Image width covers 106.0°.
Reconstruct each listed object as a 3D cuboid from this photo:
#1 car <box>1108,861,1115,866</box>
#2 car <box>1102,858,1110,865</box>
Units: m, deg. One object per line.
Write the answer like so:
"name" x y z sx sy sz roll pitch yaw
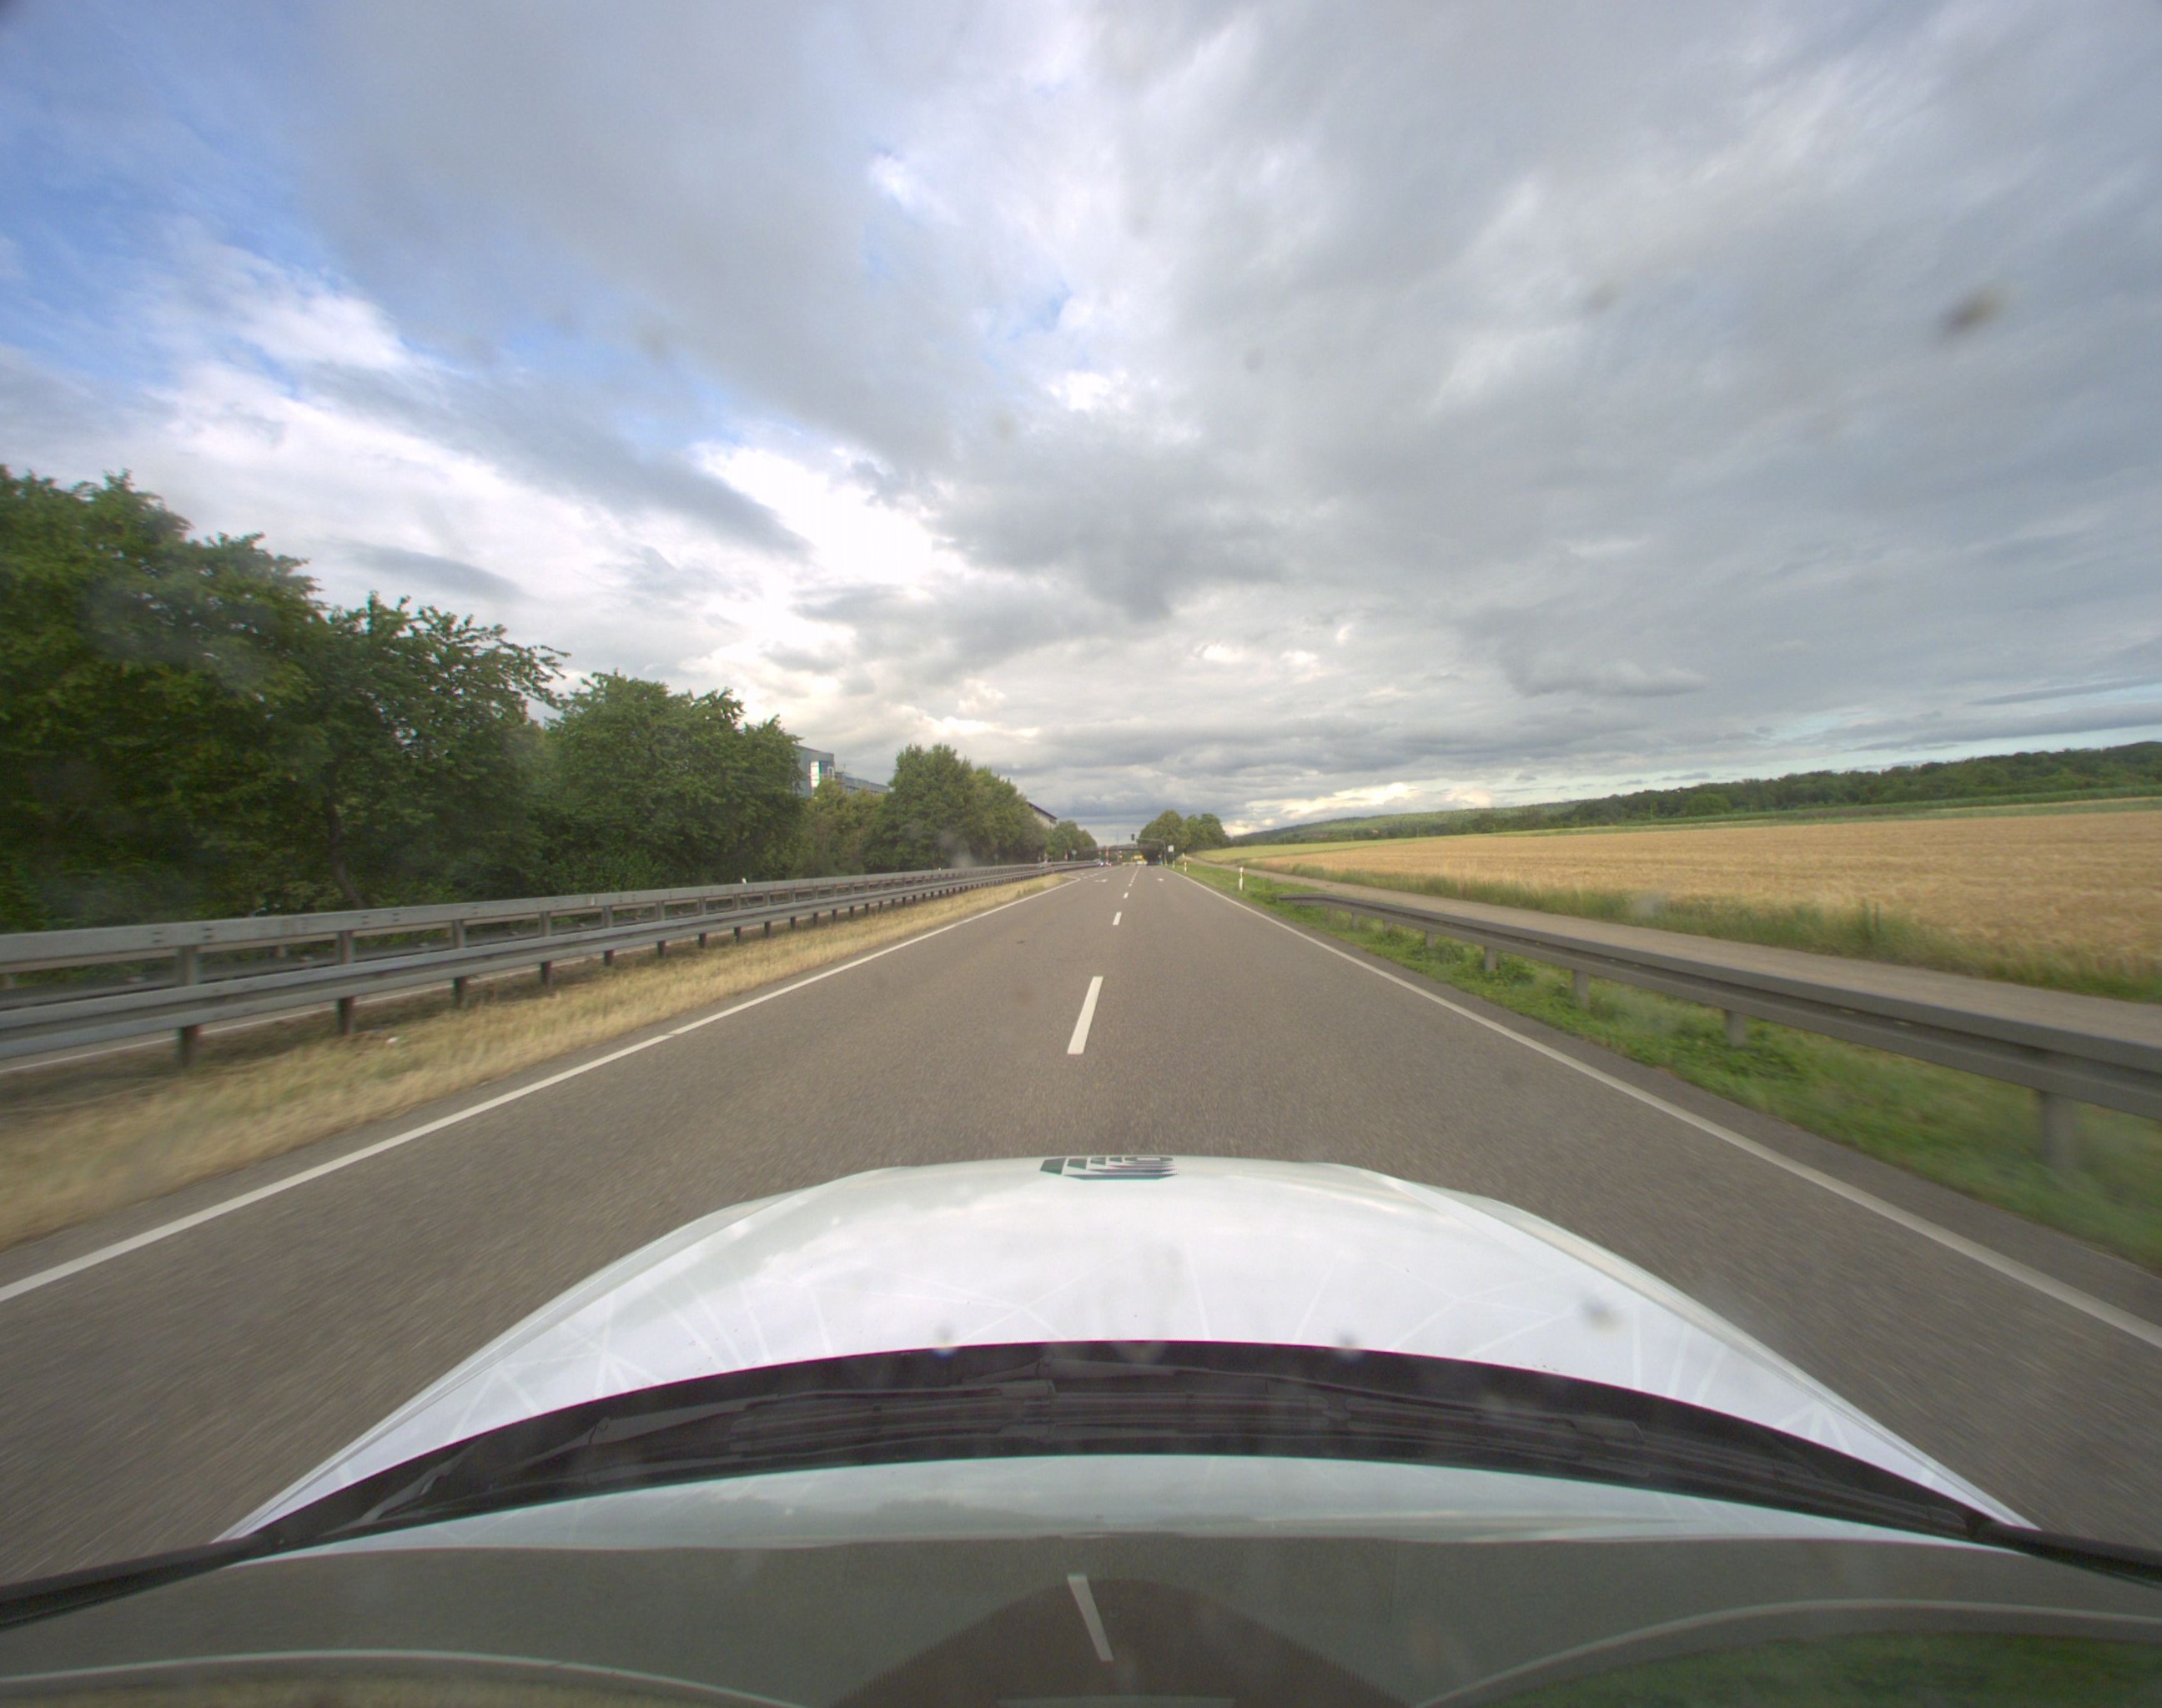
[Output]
"car" 7.534 2.275 201.487 1.351 1.092 2.926 -2 0 5
"car" 7.294 2.210 236.822 1.984 1.873 4.742 -2 0 4
